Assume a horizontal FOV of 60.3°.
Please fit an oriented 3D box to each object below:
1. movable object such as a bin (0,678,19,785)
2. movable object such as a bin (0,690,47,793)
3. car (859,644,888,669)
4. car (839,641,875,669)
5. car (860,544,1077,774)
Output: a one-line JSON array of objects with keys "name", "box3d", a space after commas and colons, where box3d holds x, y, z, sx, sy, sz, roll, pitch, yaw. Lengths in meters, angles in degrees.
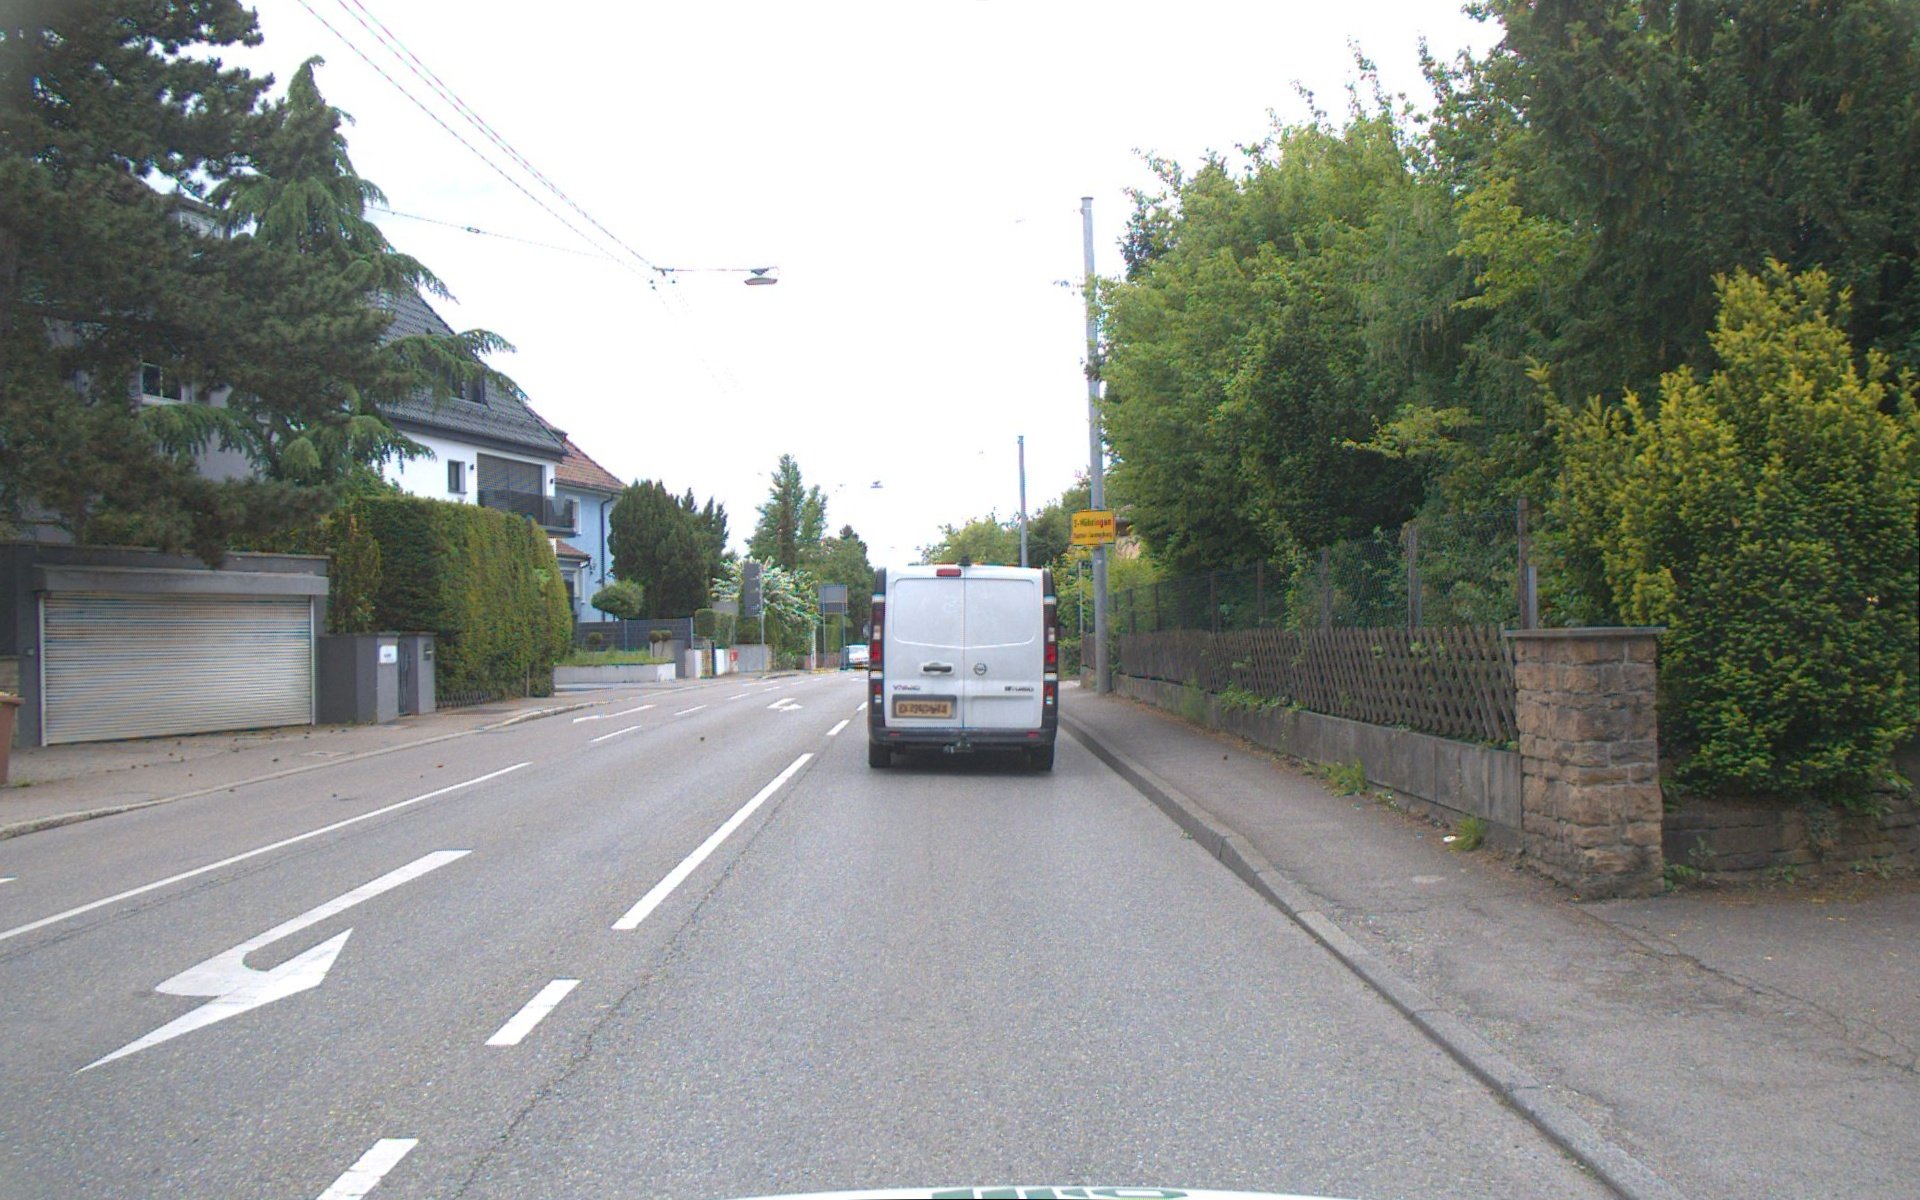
[{"name": "movable object such as a bin", "box3d": [-9.812, 1.314, 16.385, 0.469, 1.053, 0.715, -1, -1, 28]}, {"name": "movable object such as a bin", "box3d": [-9.330, 1.373, 16.094, 0.454, 0.958, 0.646, -1, -1, 28]}, {"name": "car", "box3d": [-5.783, 3.788, 111.236, 1.644, 1.583, 3.971, -3, -2, 0]}, {"name": "car", "box3d": [-5.972, 3.183, 96.399, 1.773, 1.481, 4.412, -4, -2, -1]}, {"name": "car", "box3d": [0.056, 0.566, 17.632, 1.965, 2.073, 5.009, 1, -1, -1]}]
